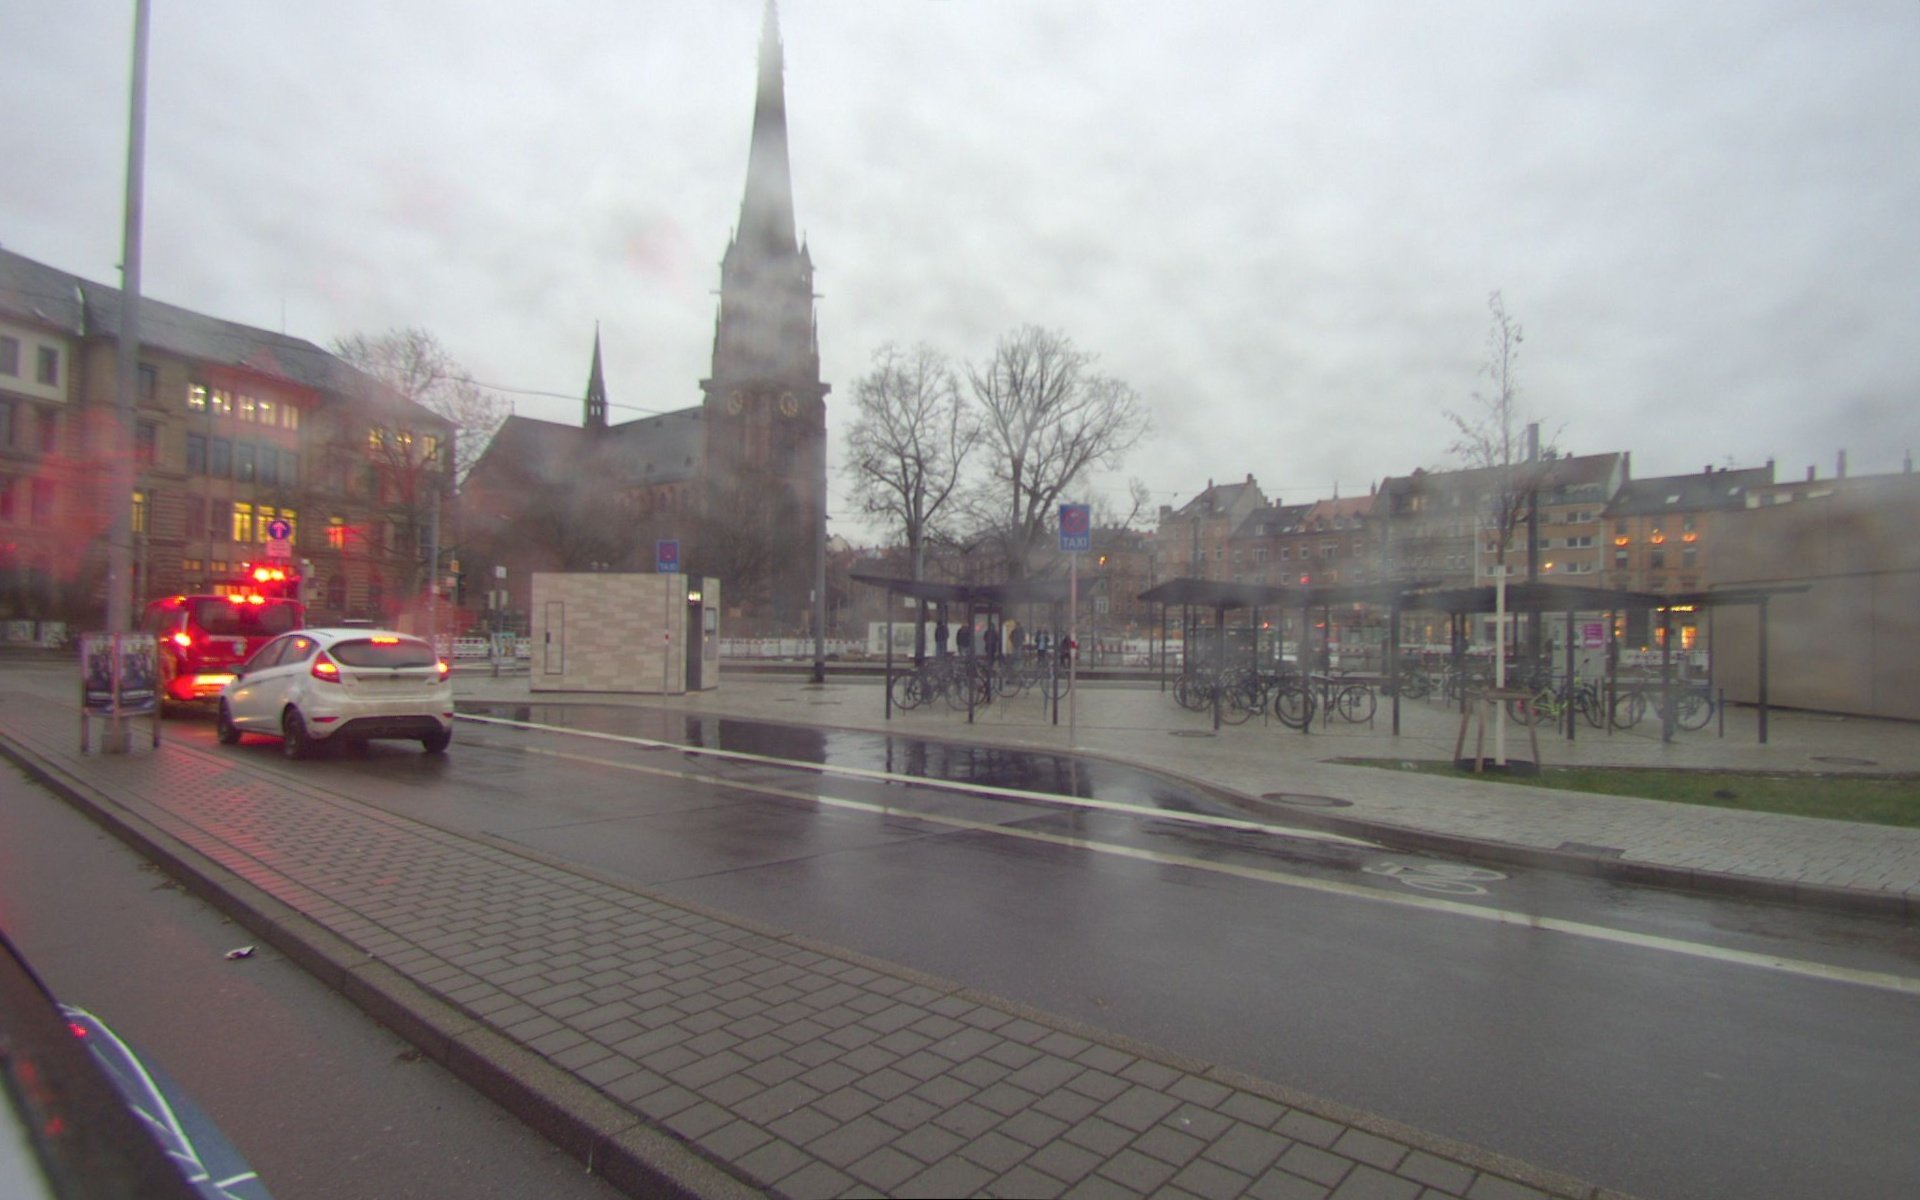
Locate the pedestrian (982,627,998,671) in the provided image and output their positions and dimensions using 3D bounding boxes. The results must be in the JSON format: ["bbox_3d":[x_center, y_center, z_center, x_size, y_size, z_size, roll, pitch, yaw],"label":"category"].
[{"bbox_3d":[1.143,1.858,38.652,0.556,1.664,0.540,-1,0,-1],"label":"pedestrian"}]

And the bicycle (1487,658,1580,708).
[{"bbox_3d":[13.248,1.909,23.419,1.810,1.081,0.474,1,-1,8],"label":"bicycle"}]

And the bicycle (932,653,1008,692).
[{"bbox_3d":[0.266,1.867,26.127,1.905,0.917,0.473,1,-1,11],"label":"bicycle"}]

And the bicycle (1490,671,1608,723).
[{"bbox_3d":[11.363,1.862,19.573,1.905,0.898,0.473,1,-1,11],"label":"bicycle"}]

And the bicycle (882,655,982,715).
[{"bbox_3d":[-0.543,1.653,19.867,1.905,1.078,0.473,1,-1,11],"label":"bicycle"}]

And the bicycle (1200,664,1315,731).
[{"bbox_3d":[5.252,1.720,17.957,1.905,1.078,0.473,1,-1,11],"label":"bicycle"}]

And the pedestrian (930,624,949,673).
[{"bbox_3d":[-0.784,1.811,38.373,0.660,1.808,0.827,-1,0,-1],"label":"pedestrian"}]

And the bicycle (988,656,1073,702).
[{"bbox_3d":[1.635,1.821,23.424,1.905,0.993,0.473,1,-1,11],"label":"bicycle"}]

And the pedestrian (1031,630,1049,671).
[{"bbox_3d":[3.028,1.909,38.333,0.580,1.513,0.675,-1,0,-1],"label":"pedestrian"}]

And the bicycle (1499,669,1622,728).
[{"bbox_3d":[11.122,1.814,18.785,1.905,0.983,0.473,1,-1,11],"label":"bicycle"}]

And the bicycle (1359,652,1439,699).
[{"bbox_3d":[11.179,1.924,25.803,1.780,1.116,0.473,1,-1,11],"label":"bicycle"}]

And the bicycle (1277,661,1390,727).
[{"bbox_3d":[6.941,1.735,18.867,1.905,1.129,0.473,1,-1,11],"label":"bicycle"}]

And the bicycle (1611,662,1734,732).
[{"bbox_3d":[12.685,1.725,18.047,1.731,1.165,0.617,1,-1,1],"label":"bicycle"}]

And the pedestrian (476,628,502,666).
[{"bbox_3d":[-23.179,2.322,49.783,0.886,1.830,0.674,1,-2,2],"label":"pedestrian"}]

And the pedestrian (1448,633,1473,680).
[{"bbox_3d":[17.923,2.014,36.249,0.694,1.679,0.526,0,-3,15],"label":"pedestrian"}]

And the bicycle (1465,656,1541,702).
[{"bbox_3d":[13.228,1.916,24.665,1.551,1.044,0.521,1,-1,1],"label":"bicycle"}]

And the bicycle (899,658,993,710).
[{"bbox_3d":[-0.292,1.733,21.104,1.905,0.993,0.473,1,-1,11],"label":"bicycle"}]

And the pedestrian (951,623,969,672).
[{"bbox_3d":[-0.002,1.801,38.579,0.619,1.808,0.672,-1,0,-1],"label":"pedestrian"}]

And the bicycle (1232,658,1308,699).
[{"bbox_3d":[7.657,1.941,25.071,1.729,0.946,0.474,1,-1,7],"label":"bicycle"}]

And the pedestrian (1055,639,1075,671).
[{"bbox_3d":[3.975,2.071,38.325,0.610,1.165,0.806,-1,0,-1],"label":"pedestrian"}]

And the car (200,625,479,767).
[{"bbox_3d":[-7.690,1.091,12.440,3.710,1.459,1.722,-1,-4,39],"label":"car"}]

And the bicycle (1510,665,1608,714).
[{"bbox_3d":[12.896,1.919,21.832,1.751,0.963,0.473,1,-1,11],"label":"bicycle"}]

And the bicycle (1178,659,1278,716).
[{"bbox_3d":[5.440,1.774,20.618,1.905,1.078,0.473,1,-1,11],"label":"bicycle"}]

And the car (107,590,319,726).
[{"bbox_3d":[-13.170,0.969,17.735,4.640,2.086,1.904,-1,-4,40],"label":"car"}]

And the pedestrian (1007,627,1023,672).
[{"bbox_3d":[2.062,1.854,38.114,0.543,1.648,0.571,-1,0,-1],"label":"pedestrian"}]

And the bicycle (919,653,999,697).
[{"bbox_3d":[-0.020,1.828,24.869,1.905,0.993,0.473,1,-1,11],"label":"bicycle"}]

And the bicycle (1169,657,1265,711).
[{"bbox_3d":[5.426,1.772,21.402,1.899,1.078,0.474,1,-1,2],"label":"bicycle"}]

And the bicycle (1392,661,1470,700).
[{"bbox_3d":[11.616,1.991,24.993,1.672,0.898,0.474,1,-1,5],"label":"bicycle"}]
